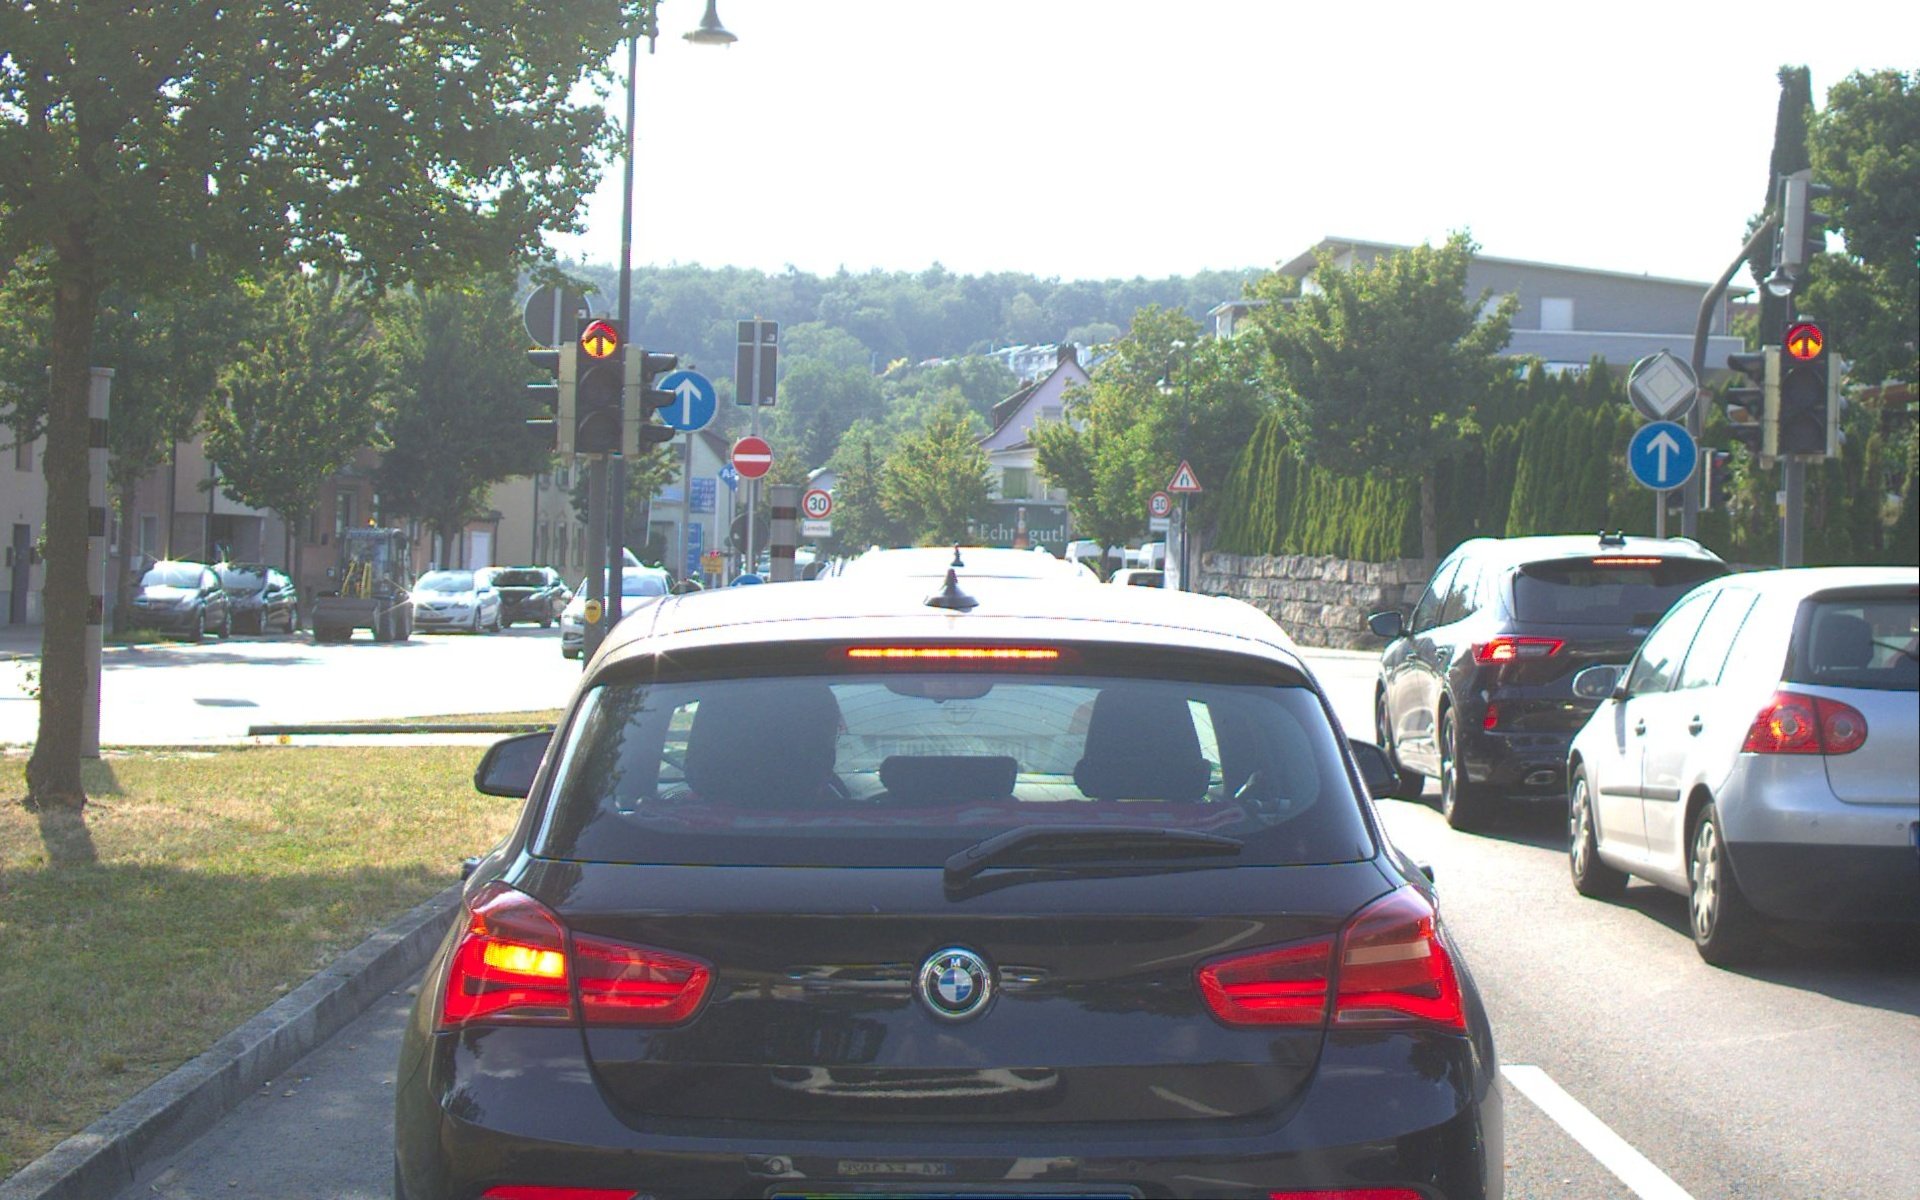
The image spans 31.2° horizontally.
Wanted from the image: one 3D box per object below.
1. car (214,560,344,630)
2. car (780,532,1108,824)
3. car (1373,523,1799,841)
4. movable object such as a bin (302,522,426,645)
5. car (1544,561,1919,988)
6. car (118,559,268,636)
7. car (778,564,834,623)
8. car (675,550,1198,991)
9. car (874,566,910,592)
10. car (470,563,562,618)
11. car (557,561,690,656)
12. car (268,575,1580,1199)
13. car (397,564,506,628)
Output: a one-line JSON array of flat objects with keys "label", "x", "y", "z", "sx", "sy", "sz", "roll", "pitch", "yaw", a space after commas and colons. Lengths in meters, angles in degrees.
[{"label": "car", "x": -14.512, "y": -0.123, "z": 73.426, "sx": 1.737, "sy": 1.296, "sz": 4.000, "roll": 5, "pitch": 1, "yaw": 2}, {"label": "car", "x": -0.084, "y": 0.393, "z": 21.040, "sx": 1.788, "sy": 1.588, "sz": 4.281, "roll": -1, "pitch": 1, "yaw": 0}, {"label": "car", "x": 3.525, "y": 0.398, "z": 20.020, "sx": 1.761, "sy": 1.650, "sz": 3.903, "roll": -1, "pitch": 1, "yaw": 0}, {"label": "movable object such as a bin", "x": -12.124, "y": -0.358, "z": 70.183, "sx": 1.736, "sy": 2.433, "sz": 4.450, "roll": 0, "pitch": 1, "yaw": 0}, {"label": "car", "x": 3.551, "y": 0.577, "z": 13.738, "sx": 1.761, "sy": 1.421, "sz": 3.903, "roll": -1, "pitch": 1, "yaw": 0}, {"label": "car", "x": -14.935, "y": -0.065, "z": 67.151, "sx": 1.737, "sy": 1.296, "sz": 4.000, "roll": 5, "pitch": 1, "yaw": 3}, {"label": "car", "x": -6.517, "y": -0.290, "z": 145.783, "sx": 2.084, "sy": 2.385, "sz": 5.528, "roll": 1, "pitch": 1, "yaw": 0}, {"label": "car", "x": -0.078, "y": 0.558, "z": 14.001, "sx": 1.788, "sy": 1.488, "sz": 4.281, "roll": -1, "pitch": 1, "yaw": 0}, {"label": "car", "x": -3.851, "y": -1.198, "z": 195.319, "sx": 1.737, "sy": 1.296, "sz": 3.799, "roll": 5, "pitch": 1, "yaw": 2}, {"label": "car", "x": -11.877, "y": -0.264, "z": 92.154, "sx": 1.737, "sy": 1.296, "sz": 3.799, "roll": 5, "pitch": 1, "yaw": 2}, {"label": "car", "x": -5.528, "y": 0.114, "z": 56.852, "sx": 1.839, "sy": 1.477, "sz": 4.000, "roll": 1, "pitch": 1, "yaw": -1}, {"label": "car", "x": -0.043, "y": 0.679, "z": 6.855, "sx": 1.788, "sy": 1.393, "sz": 4.281, "roll": -1, "pitch": 1, "yaw": 0}, {"label": "car", "x": -11.843, "y": -0.109, "z": 80.239, "sx": 1.737, "sy": 1.296, "sz": 3.799, "roll": 5, "pitch": 1, "yaw": 2}]
